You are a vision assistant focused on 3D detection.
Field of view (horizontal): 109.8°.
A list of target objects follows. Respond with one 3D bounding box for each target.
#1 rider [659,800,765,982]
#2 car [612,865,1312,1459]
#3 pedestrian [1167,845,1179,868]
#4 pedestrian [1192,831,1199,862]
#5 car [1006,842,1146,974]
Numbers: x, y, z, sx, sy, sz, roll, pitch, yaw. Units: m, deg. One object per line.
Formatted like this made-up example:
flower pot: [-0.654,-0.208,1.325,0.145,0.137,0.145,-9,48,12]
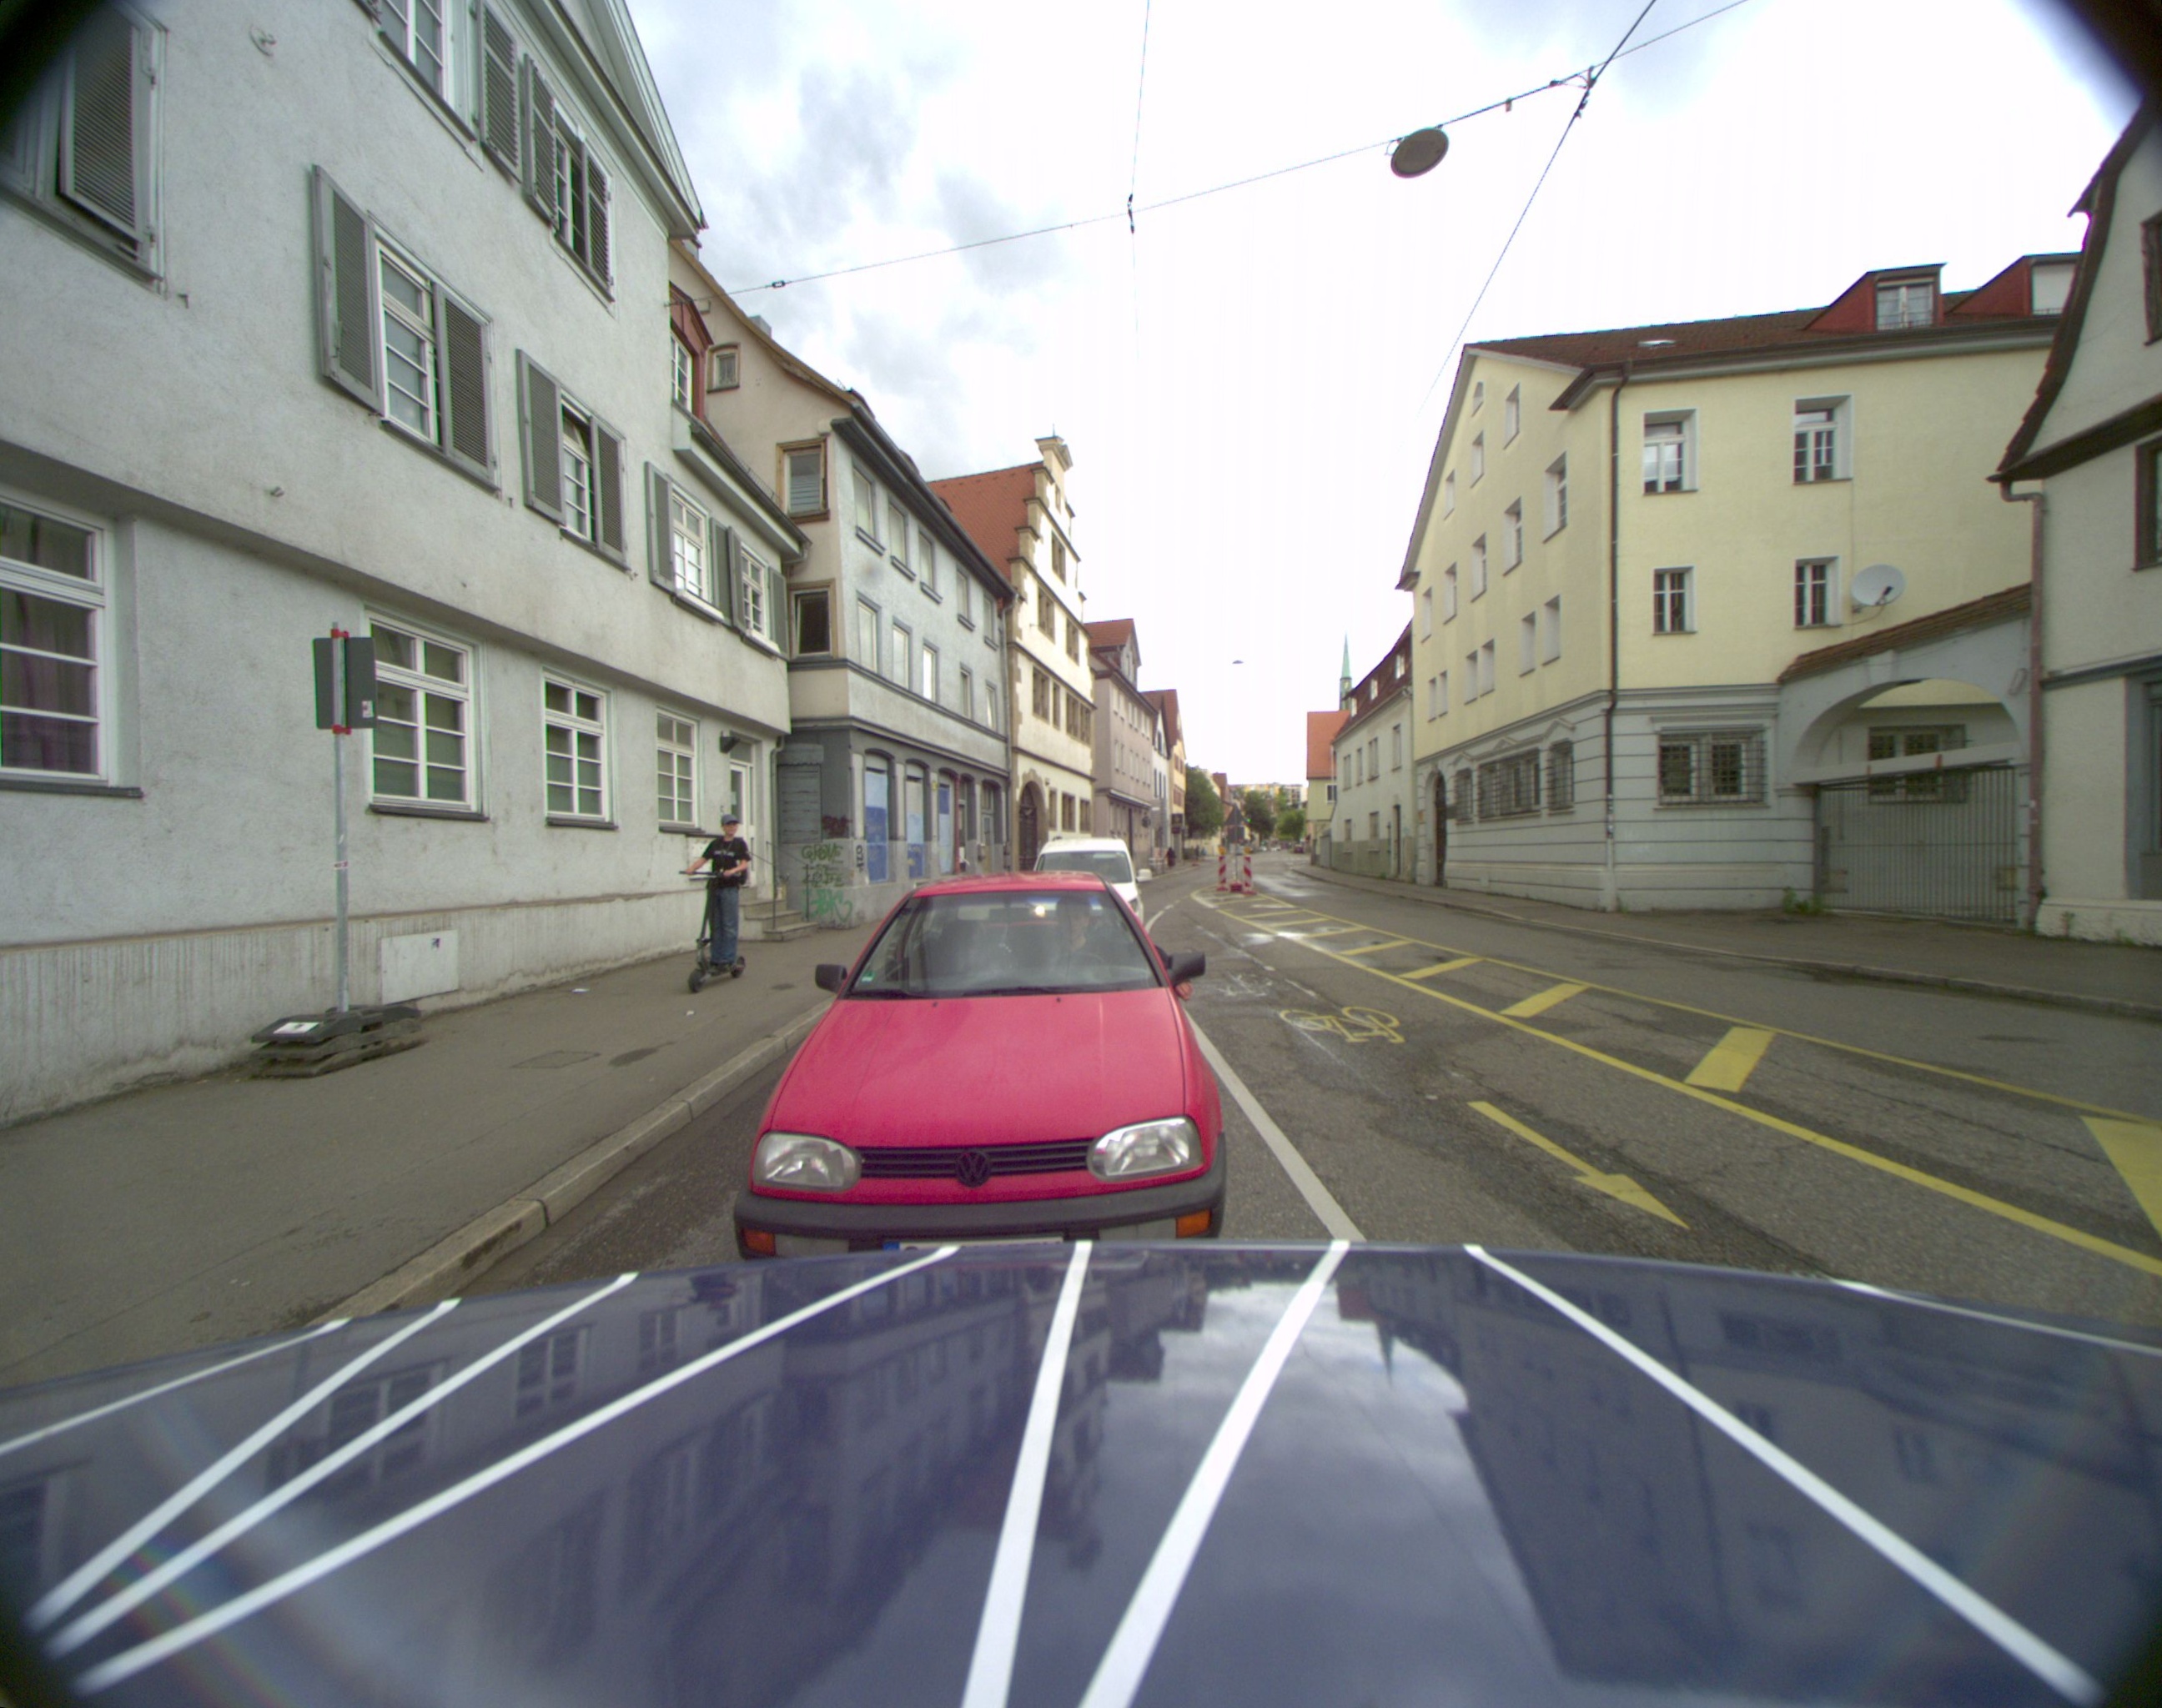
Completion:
rider: [-3.910,0.377,8.111,0.719,1.837,0.797,-1,1,1]
car: [-0.285,0.843,3.989,1.792,1.417,3.999,-2,1,1]
pedestrian: [6.517,0.146,53.709,0.725,1.604,0.649,-1,0,13]
pedestrian: [9.612,-0.636,63.656,0.495,2.513,0.746,-1,1,12]
car: [0.021,0.686,12.162,1.814,1.695,4.256,-1,1,2]
